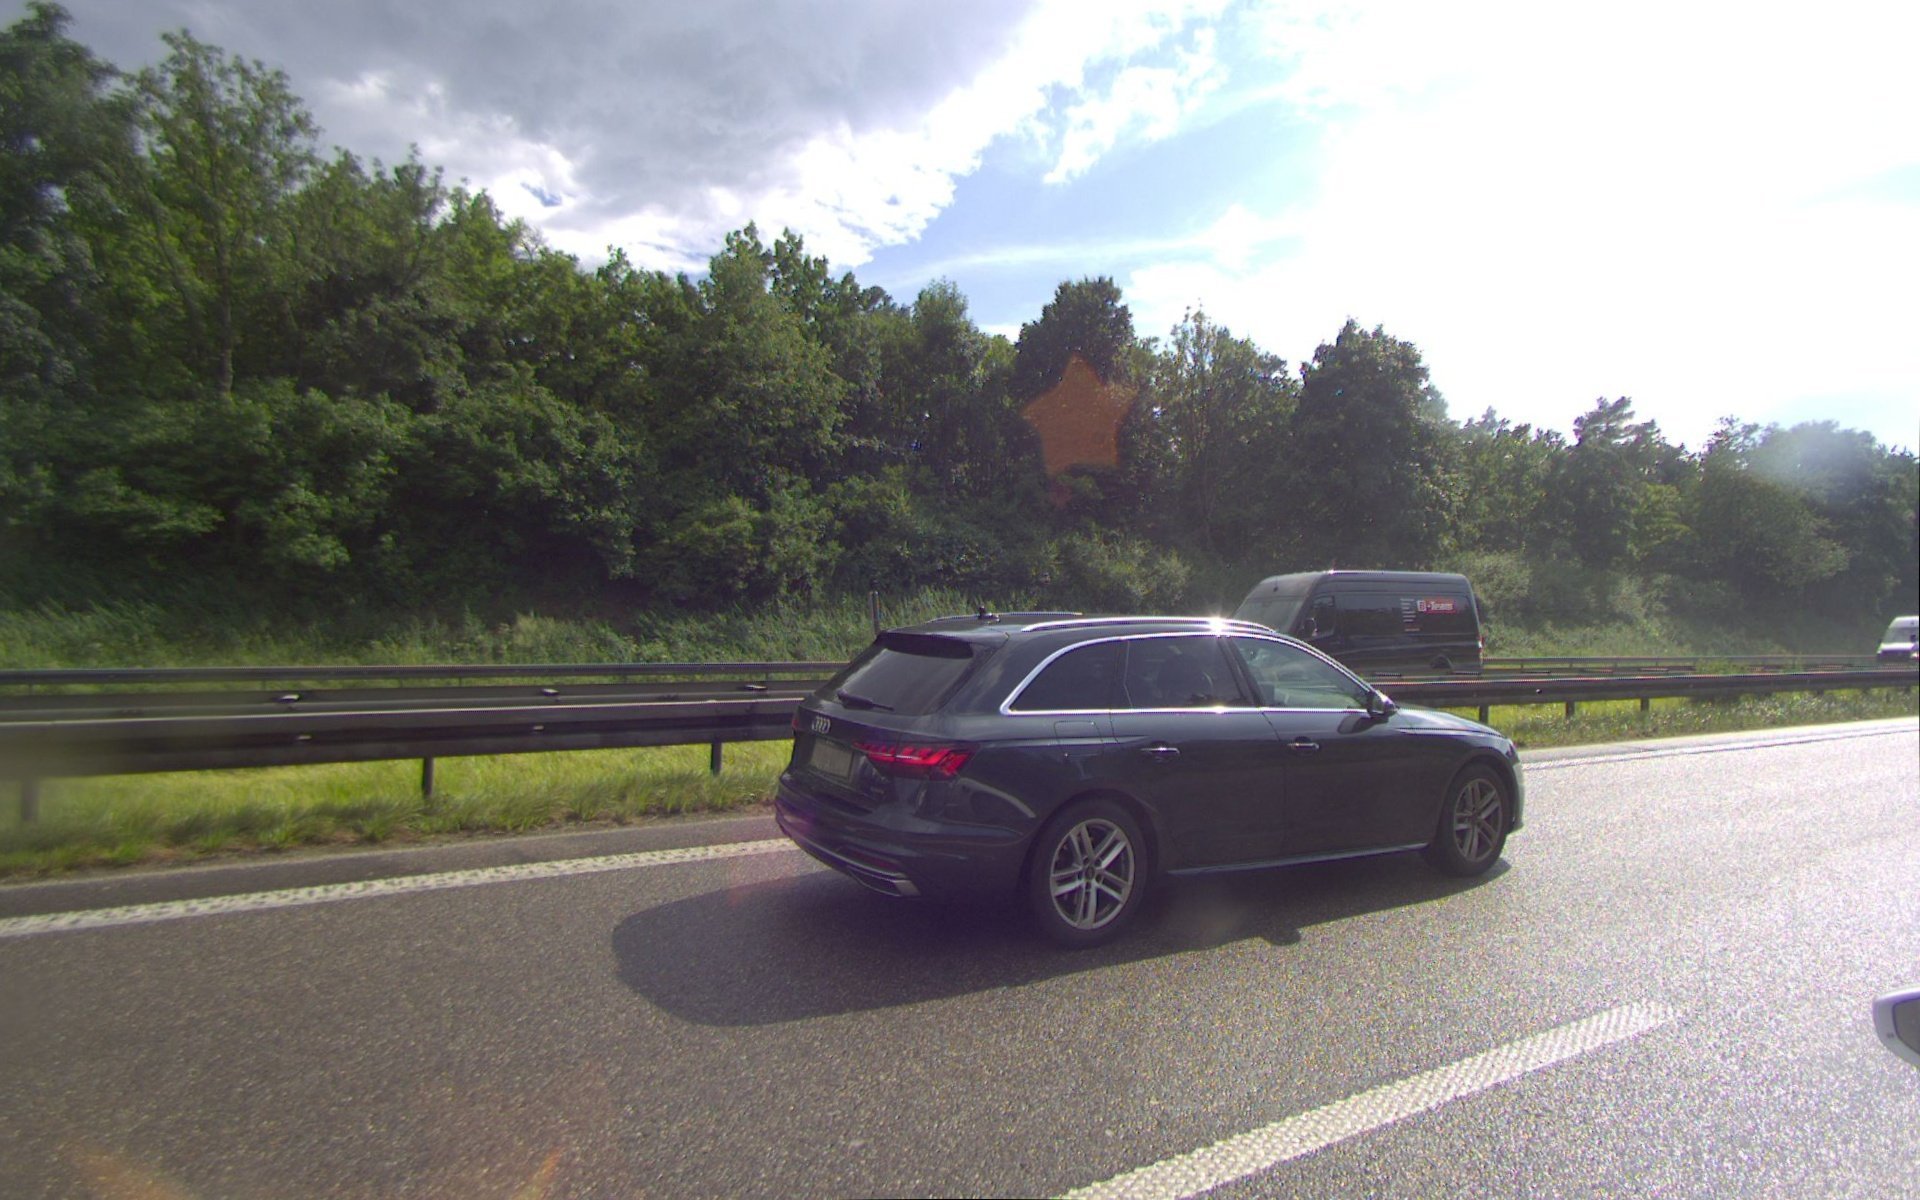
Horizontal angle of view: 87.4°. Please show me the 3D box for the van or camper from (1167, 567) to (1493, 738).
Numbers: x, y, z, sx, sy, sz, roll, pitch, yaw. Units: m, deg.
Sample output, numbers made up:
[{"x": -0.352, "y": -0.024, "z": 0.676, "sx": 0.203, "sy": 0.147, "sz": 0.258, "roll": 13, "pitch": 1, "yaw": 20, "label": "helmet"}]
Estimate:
[{"x": 7.427, "y": 0.976, "z": 19.852, "sx": 6.760, "sy": 2.908, "sz": 2.252, "roll": 2, "pitch": 0, "yaw": -31, "label": "van or camper"}]

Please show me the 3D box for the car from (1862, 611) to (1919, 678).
[{"x": 44.428, "y": 2.045, "z": 46.315, "sx": 6.710, "sy": 2.908, "sz": 2.252, "roll": 2, "pitch": 0, "yaw": -31, "label": "car"}]

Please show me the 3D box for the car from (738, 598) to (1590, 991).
[{"x": 1.347, "y": 0.783, "z": 5.712, "sx": 4.783, "sy": 1.437, "sz": 1.785, "roll": 2, "pitch": 0, "yaw": -31, "label": "car"}]

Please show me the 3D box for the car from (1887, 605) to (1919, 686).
[{"x": 37.861, "y": 1.753, "z": 37.981, "sx": 6.810, "sy": 2.908, "sz": 2.252, "roll": 2, "pitch": 0, "yaw": -31, "label": "car"}]
